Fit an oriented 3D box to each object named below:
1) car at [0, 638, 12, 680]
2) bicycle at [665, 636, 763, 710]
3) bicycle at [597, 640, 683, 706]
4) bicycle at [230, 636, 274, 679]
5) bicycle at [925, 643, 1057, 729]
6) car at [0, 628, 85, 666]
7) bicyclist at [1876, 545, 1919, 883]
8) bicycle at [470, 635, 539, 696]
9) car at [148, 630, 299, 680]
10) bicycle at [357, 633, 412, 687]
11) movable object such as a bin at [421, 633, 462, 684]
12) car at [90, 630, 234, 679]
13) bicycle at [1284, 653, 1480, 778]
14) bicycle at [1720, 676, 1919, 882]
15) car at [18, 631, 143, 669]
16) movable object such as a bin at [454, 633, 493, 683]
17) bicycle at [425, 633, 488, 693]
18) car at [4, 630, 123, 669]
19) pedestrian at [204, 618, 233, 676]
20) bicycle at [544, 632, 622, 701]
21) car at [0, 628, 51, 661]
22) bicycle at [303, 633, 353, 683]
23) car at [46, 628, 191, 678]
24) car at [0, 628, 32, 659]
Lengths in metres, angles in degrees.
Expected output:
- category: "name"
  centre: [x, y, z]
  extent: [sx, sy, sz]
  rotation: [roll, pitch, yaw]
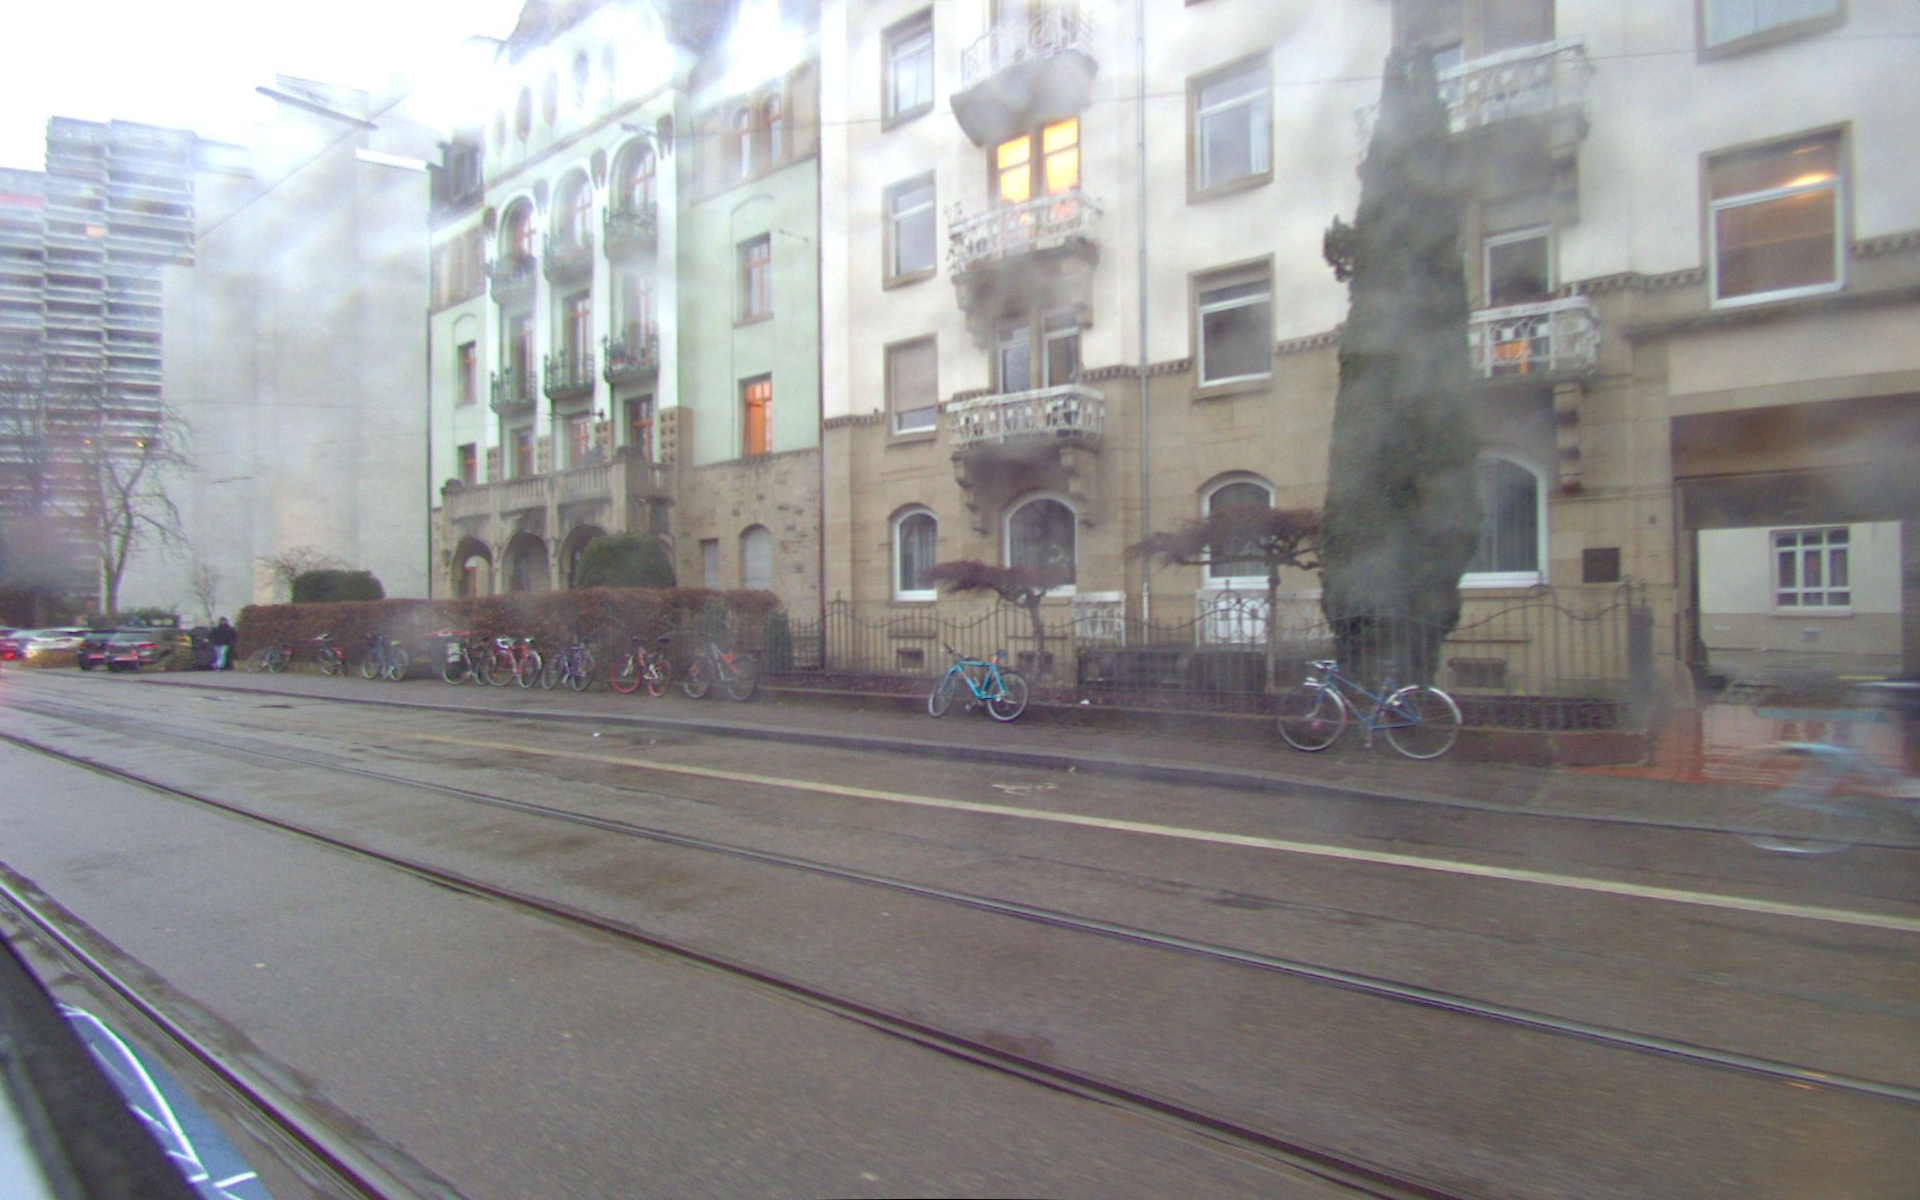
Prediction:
- category: "car"
  centre: [-29.789, 1.780, 30.091]
  extent: [1.683, 1.262, 3.676]
  rotation: [1, -2, -33]
- category: "bicycle"
  centre: [-4.017, 1.152, 16.444]
  extent: [1.782, 1.134, 0.617]
  rotation: [-2, -2, 40]
- category: "bicycle"
  centre: [-5.610, 1.247, 17.674]
  extent: [1.725, 1.073, 0.617]
  rotation: [-2, -2, 40]
- category: "bicycle"
  centre: [-20.141, 1.627, 28.786]
  extent: [1.661, 1.173, 0.617]
  rotation: [-2, -1, 40]
- category: "bicycle"
  centre: [0.376, 1.070, 12.999]
  extent: [1.661, 1.010, 0.617]
  rotation: [-2, -2, 40]
- category: "car"
  centre: [-43.139, 2.149, 46.853]
  extent: [1.843, 1.608, 3.999]
  rotation: [-1, -1, 1]
- category: "bicyclist"
  centre: [5.841, 0.630, 5.661]
  extent: [0.990, 1.891, 0.617]
  rotation: [-2, -2, 40]
- category: "bicycle"
  centre: [-9.182, 1.300, 20.372]
  extent: [1.661, 1.173, 0.617]
  rotation: [-2, -2, 40]
- category: "car"
  centre: [-24.546, 1.790, 33.927]
  extent: [1.848, 1.505, 3.989]
  rotation: [-1, -1, 9]
- category: "bicycle"
  centre: [-13.724, 1.410, 24.113]
  extent: [1.661, 1.221, 0.617]
  rotation: [-2, -2, 40]
- category: "movable object such as a bin"
  centre: [-12.173, 1.358, 23.768]
  extent: [0.674, 1.173, 0.651]
  rotation: [-2, -2, 40]
- category: "car"
  centre: [-27.128, 1.824, 34.583]
  extent: [1.740, 1.497, 3.999]
  rotation: [-1, -1, 1]
- category: "bicycle"
  centre: [4.127, 1.091, 9.968]
  extent: [1.661, 1.101, 0.617]
  rotation: [-2, -2, 40]
- category: "bicycle"
  centre: [5.633, 1.026, 5.833]
  extent: [1.946, 1.101, 0.617]
  rotation: [-2, -2, 40]
- category: "car"
  centre: [-37.443, 2.107, 43.216]
  extent: [1.843, 1.460, 3.999]
  rotation: [-1, -1, 1]
- category: "movable object such as a bin"
  centre: [-11.706, 1.388, 24.346]
  extent: [0.674, 1.173, 0.617]
  rotation: [-2, -2, 40]
- category: "bicycle"
  centre: [-10.792, 1.333, 21.675]
  extent: [1.661, 1.221, 0.617]
  rotation: [-2, -2, 40]
- category: "car"
  centre: [-40.232, 2.185, 45.544]
  extent: [1.843, 1.608, 3.999]
  rotation: [-1, -1, 1]
- category: "pedestrian"
  centre: [-22.783, 1.438, 31.104]
  extent: [0.644, 1.738, 0.567]
  rotation: [0, 1, 42]
- category: "bicycle"
  centre: [-7.002, 1.205, 18.756]
  extent: [1.661, 1.221, 0.617]
  rotation: [-2, -2, 40]
- category: "car"
  centre: [-48.285, 2.252, 50.732]
  extent: [1.843, 1.608, 3.999]
  rotation: [-1, -1, 1]
- category: "bicycle"
  centre: [-16.133, 1.467, 25.831]
  extent: [1.661, 1.221, 0.617]
  rotation: [-2, -2, 40]
- category: "car"
  centre: [-29.826, 1.823, 36.026]
  extent: [1.843, 1.608, 3.999]
  rotation: [-1, -1, 1]
- category: "car"
  centre: [-50.868, 2.299, 52.498]
  extent: [1.843, 1.608, 3.999]
  rotation: [-1, -1, 1]
